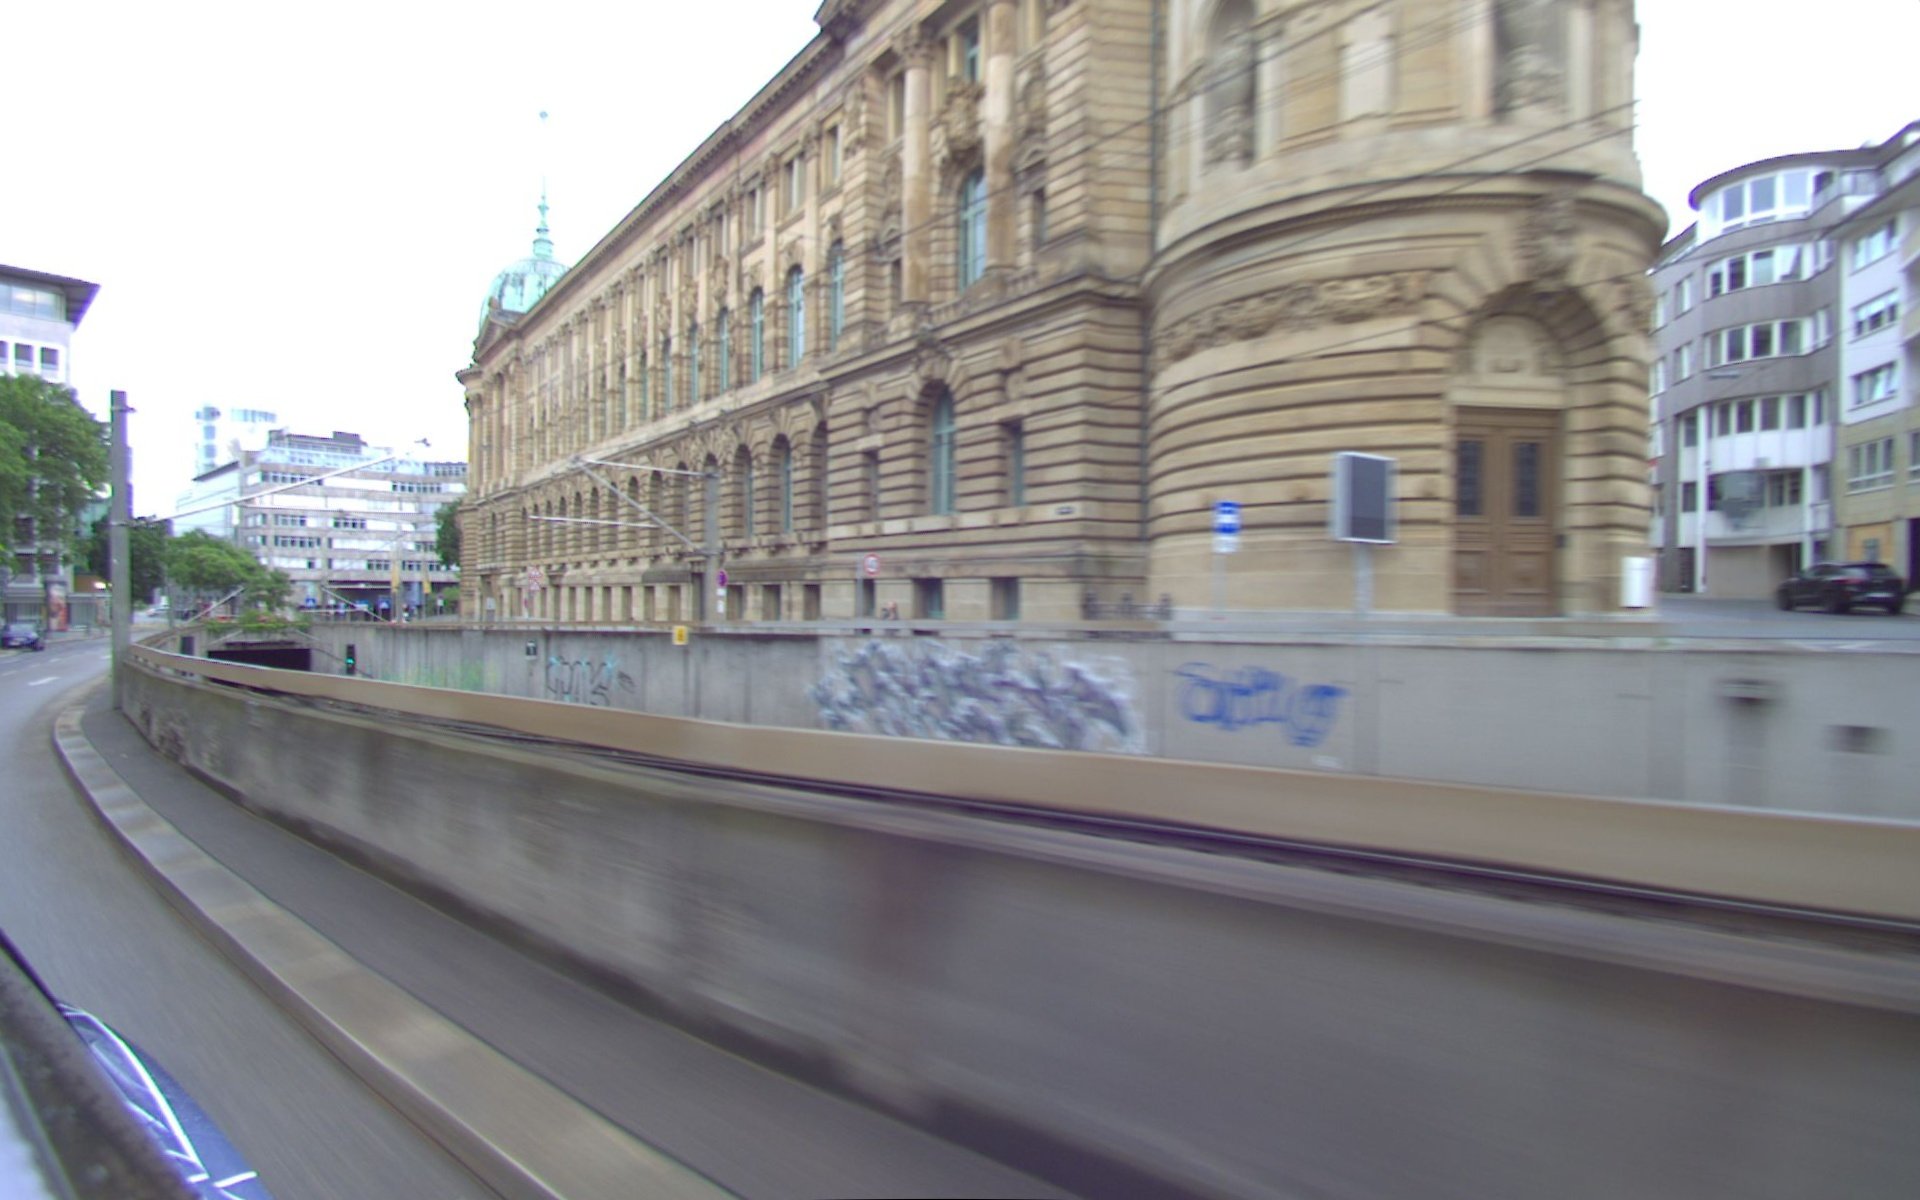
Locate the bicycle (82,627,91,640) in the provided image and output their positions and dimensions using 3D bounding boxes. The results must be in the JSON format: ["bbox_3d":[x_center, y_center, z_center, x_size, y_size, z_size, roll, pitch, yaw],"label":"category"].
[{"bbox_3d":[-69.342,2.656,80.353,0.483,1.020,1.932,0,0,-38],"label":"bicycle"}]

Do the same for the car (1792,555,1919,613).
[{"bbox_3d":[26.588,-0.405,30.048,1.989,1.431,3.965,-1,-3,26],"label":"car"}]

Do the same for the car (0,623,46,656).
[{"bbox_3d":[-52.470,2.178,56.543,1.745,1.631,4.166,-1,0,-38],"label":"car"}]

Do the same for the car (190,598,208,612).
[{"bbox_3d":[-117.056,0.835,155.558,1.969,2.095,4.006,-1,0,-40],"label":"car"}]
